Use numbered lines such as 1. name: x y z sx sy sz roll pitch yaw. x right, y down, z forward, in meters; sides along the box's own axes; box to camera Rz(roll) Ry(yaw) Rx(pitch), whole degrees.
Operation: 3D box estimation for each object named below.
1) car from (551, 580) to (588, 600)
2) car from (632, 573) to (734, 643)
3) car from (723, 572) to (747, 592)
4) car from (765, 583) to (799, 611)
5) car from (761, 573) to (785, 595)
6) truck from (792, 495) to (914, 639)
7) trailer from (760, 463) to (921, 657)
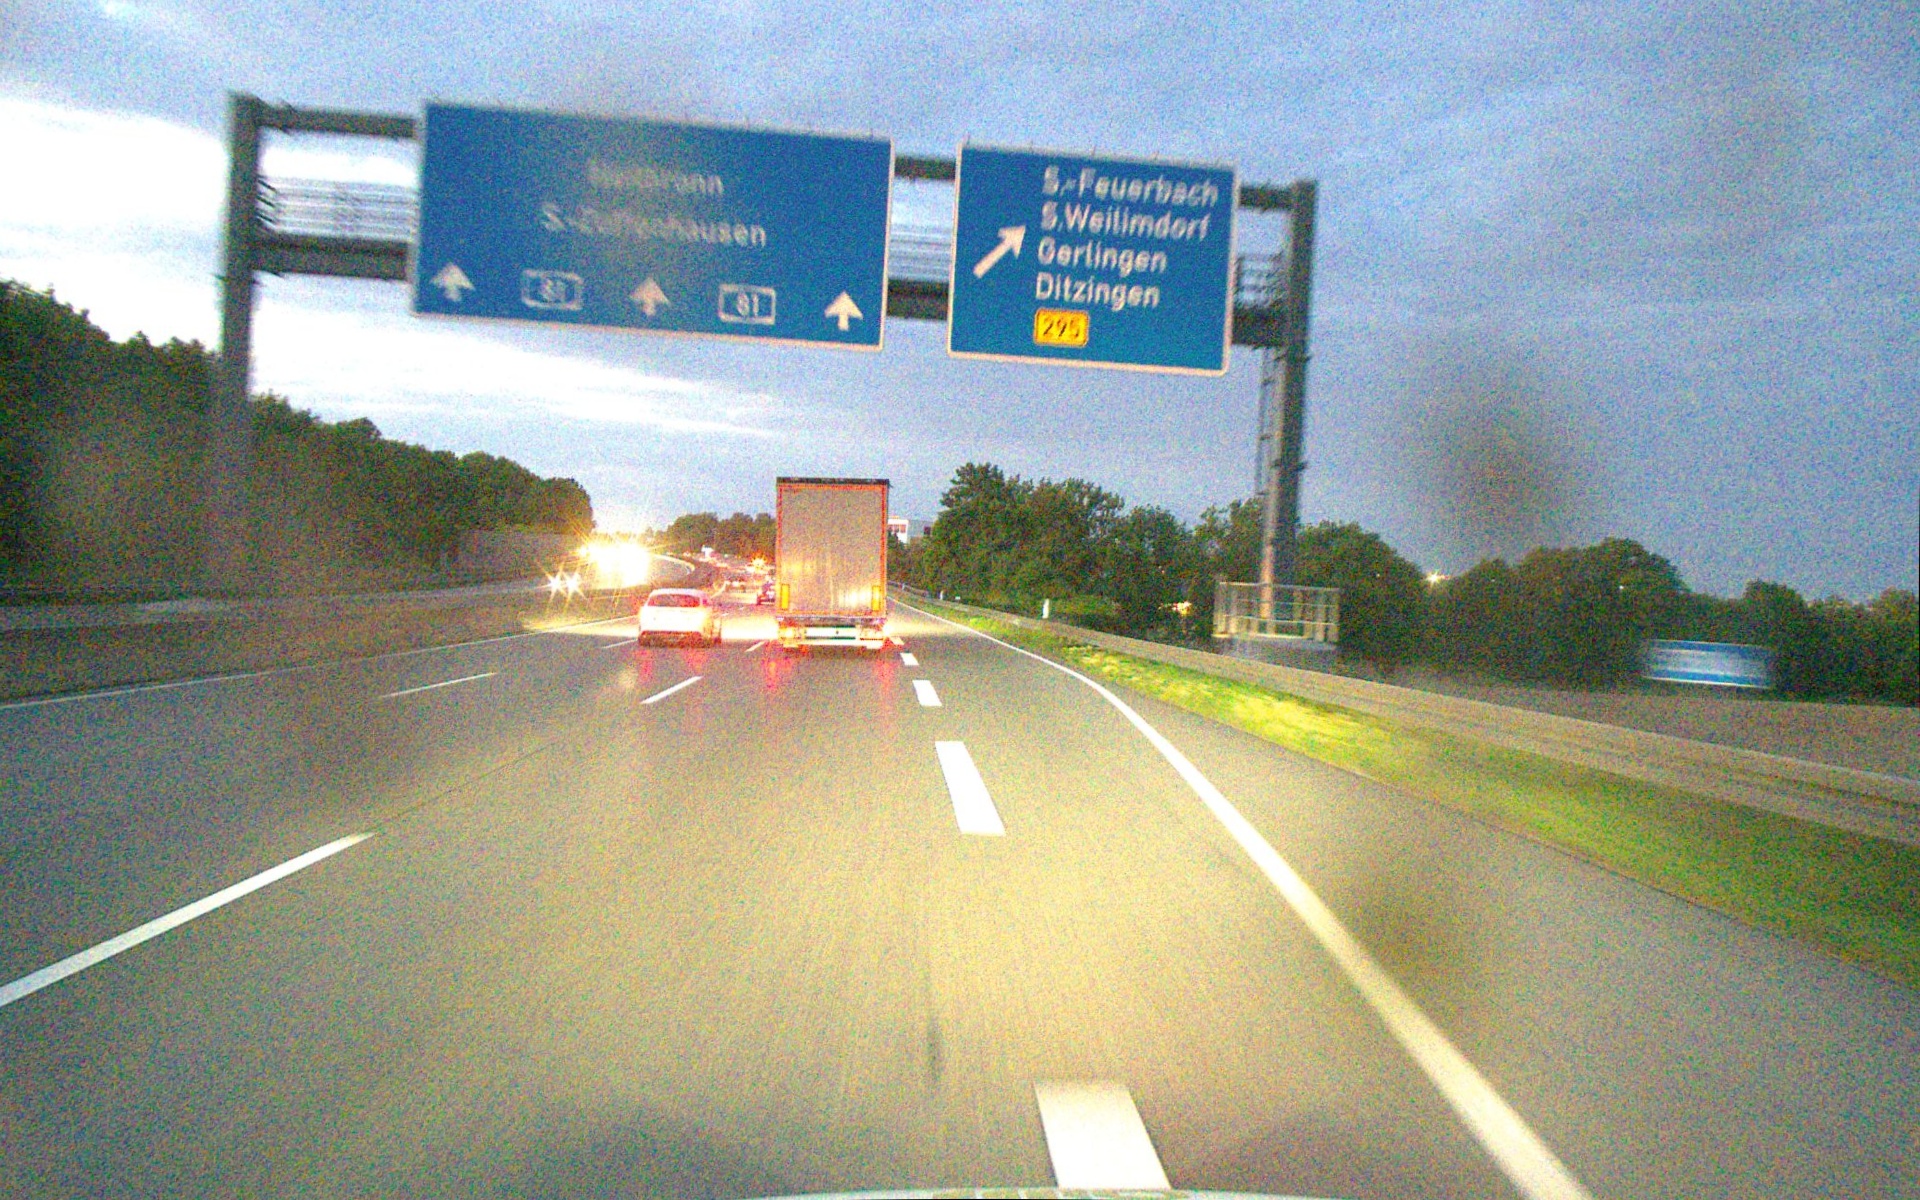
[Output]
1. car: -29.510 -0.766 125.078 1.954 1.444 4.149 2 0 -3
2. car: -7.075 0.244 42.694 1.868 1.642 4.802 2 -1 -1
3. car: -20.360 -1.577 149.889 1.727 1.602 4.572 2 -1 -4
4. car: -11.668 -0.177 108.804 2.025 1.715 4.572 2 -1 -5
5. car: -19.017 -1.595 168.398 1.953 2.049 3.998 2 -1 -2
6. truck: -3.245 -0.979 51.118 3.479 4.162 6.148 1 0 -3
7. trailer: -2.950 -0.929 43.734 3.479 4.188 15.055 1 0 -3
